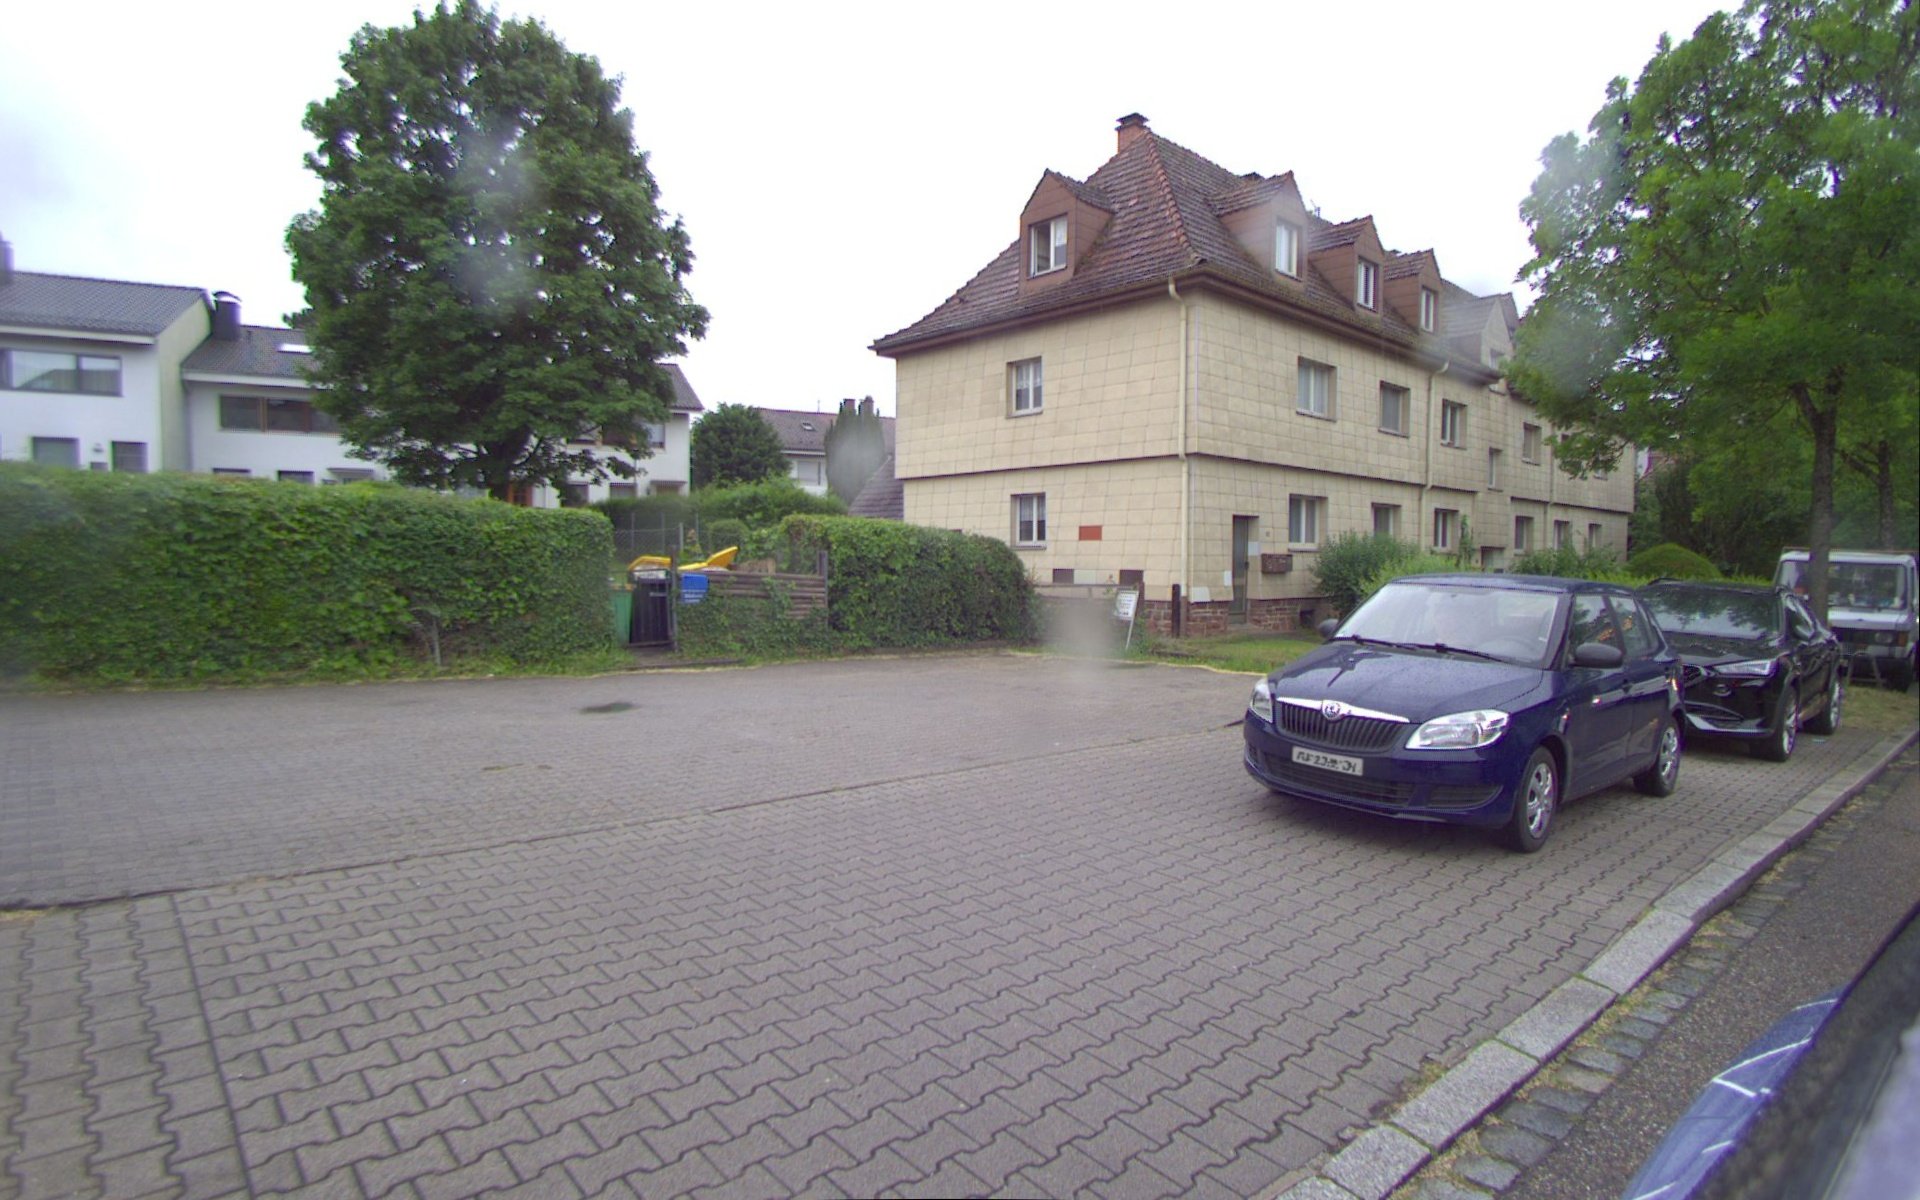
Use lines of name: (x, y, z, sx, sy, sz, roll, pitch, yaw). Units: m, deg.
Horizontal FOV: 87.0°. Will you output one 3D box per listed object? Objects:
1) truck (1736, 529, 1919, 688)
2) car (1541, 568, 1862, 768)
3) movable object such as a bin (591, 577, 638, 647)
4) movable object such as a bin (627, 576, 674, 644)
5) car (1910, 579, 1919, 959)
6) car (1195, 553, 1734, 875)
truck: (14.822, 0.084, 16.683, 5.653, 2.224, 1.998, 0, 2, -40)
car: (7.307, 0.488, 9.832, 3.932, 1.481, 1.719, -1, 4, -42)
movable object such as a bin: (-4.821, 0.158, 14.124, 0.441, 0.954, 0.539, 0, 0, -45)
movable object such as a bin: (-4.426, 0.140, 14.461, 0.441, 0.954, 0.539, 0, 0, -45)
car: (5.634, 0.689, 4.304, 4.240, 1.548, 1.881, 0, -1, -41)
car: (3.458, 0.480, 6.616, 3.930, 1.441, 1.719, -1, 4, -41)
